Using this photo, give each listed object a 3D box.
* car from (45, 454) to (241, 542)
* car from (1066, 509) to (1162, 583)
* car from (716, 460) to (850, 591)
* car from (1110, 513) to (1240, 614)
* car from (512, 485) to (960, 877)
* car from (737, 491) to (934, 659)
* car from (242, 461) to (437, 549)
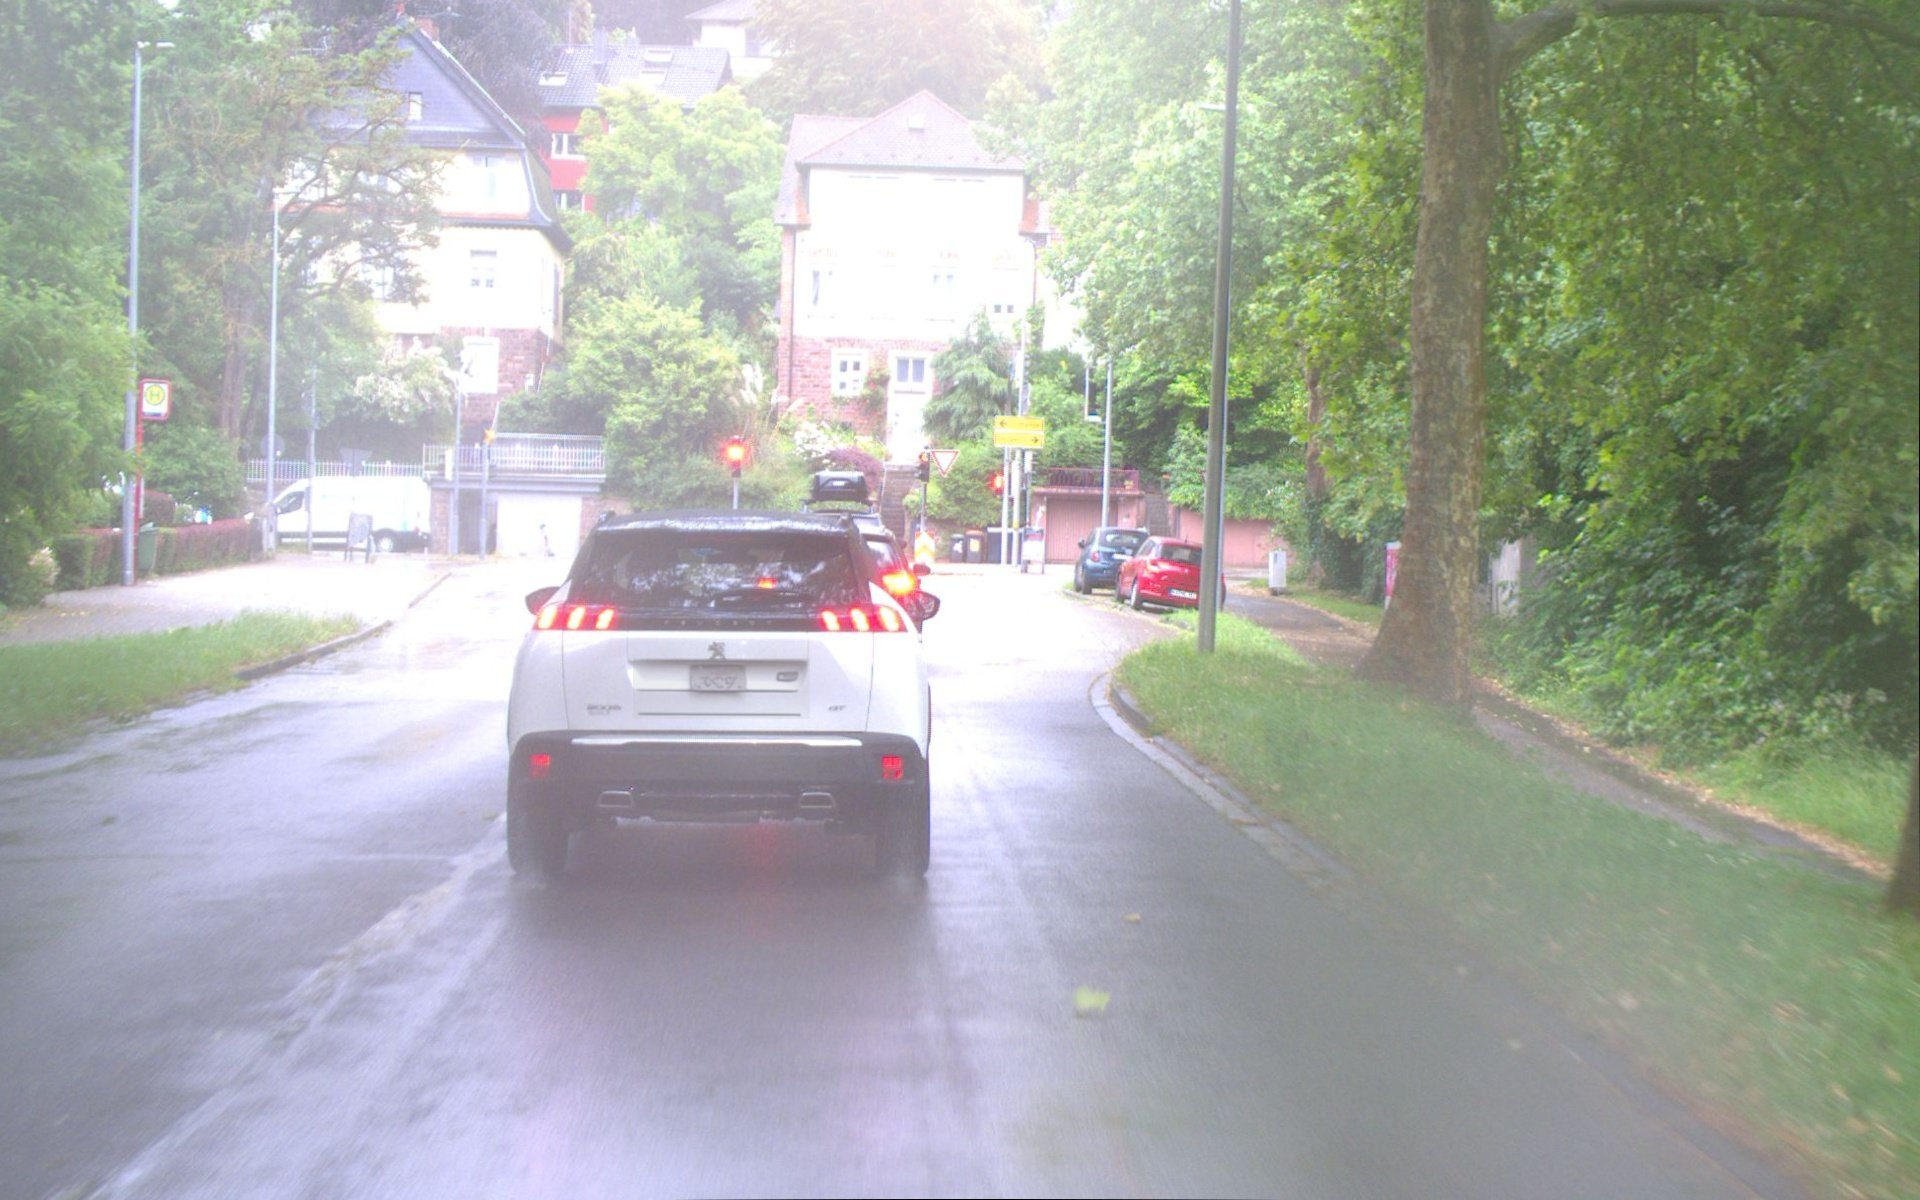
[{"bbox_3d":[-25.746,-3.217,108.486,5.562,2.485,2.316,2,0,0],"label":"car"},{"bbox_3d":[3.388,-1.206,76.246,1.749,1.486,3.600,4,1,-2],"label":"car"},{"bbox_3d":[-2.576,-1.124,49.737,1.760,1.705,4.602,3,2,-3],"label":"car"},{"bbox_3d":[4.144,-0.736,66.695,1.819,1.512,3.744,9,3,-5],"label":"car"},{"bbox_3d":[-0.958,0.262,15.782,1.752,1.530,4.368,1,2,-2],"label":"car"},{"bbox_3d":[-1.272,-0.317,35.967,1.831,1.451,4.659,4,2,-2],"label":"car"},{"bbox_3d":[-19.524,-2.976,108.387,5.660,2.485,2.316,2,0,0],"label":"car"}]
